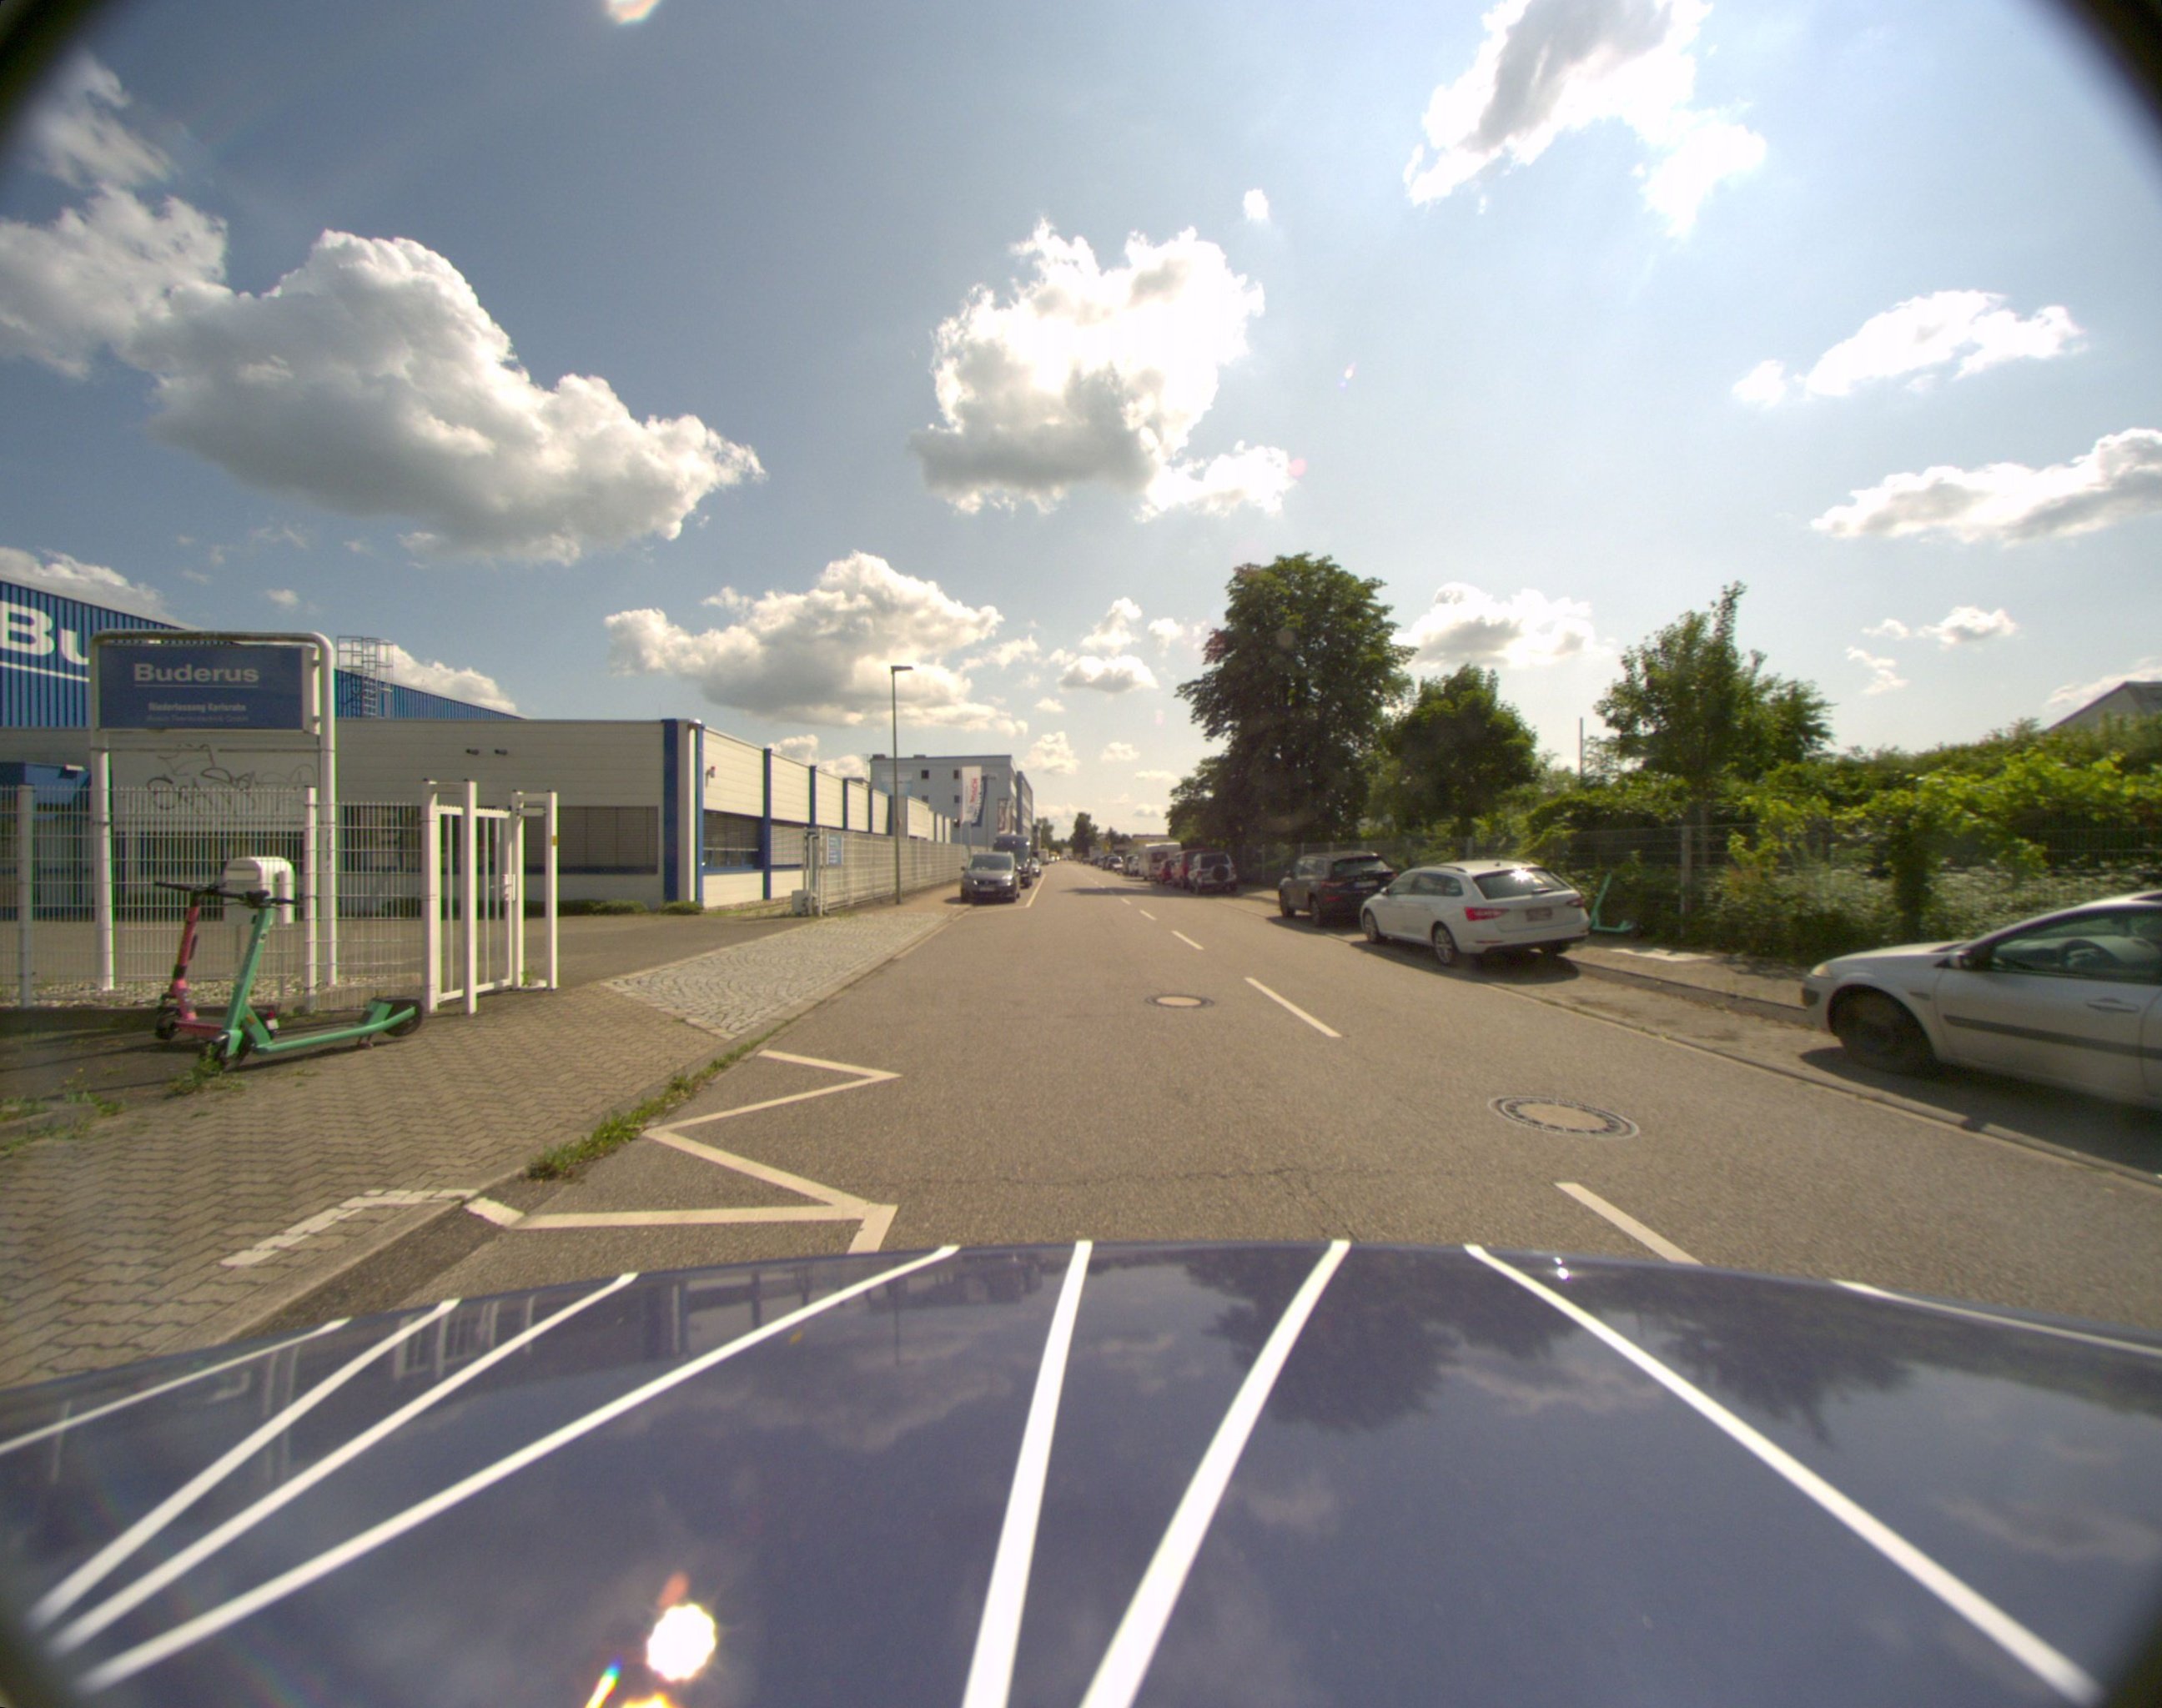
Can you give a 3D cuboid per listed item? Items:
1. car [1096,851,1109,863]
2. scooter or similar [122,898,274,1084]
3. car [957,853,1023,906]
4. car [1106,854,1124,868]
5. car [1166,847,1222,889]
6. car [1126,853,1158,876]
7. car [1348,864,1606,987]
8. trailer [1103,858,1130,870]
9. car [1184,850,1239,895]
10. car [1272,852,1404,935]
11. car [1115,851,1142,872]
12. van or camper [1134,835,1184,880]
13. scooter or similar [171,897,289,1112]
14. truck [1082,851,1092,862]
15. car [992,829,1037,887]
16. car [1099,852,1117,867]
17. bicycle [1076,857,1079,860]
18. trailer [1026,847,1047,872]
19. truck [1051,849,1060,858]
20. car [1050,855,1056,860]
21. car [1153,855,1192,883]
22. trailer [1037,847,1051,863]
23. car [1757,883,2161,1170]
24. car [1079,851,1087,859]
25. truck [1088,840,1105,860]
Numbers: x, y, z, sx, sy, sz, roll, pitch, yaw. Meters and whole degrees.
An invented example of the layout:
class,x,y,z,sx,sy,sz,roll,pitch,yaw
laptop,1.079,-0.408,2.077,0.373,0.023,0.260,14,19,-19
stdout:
class,x,y,z,sx,sy,sz,roll,pitch,yaw
car,2.925,0.403,104.113,1.620,1.475,3.709,-2,0,-2
scooter or similar,-6.403,0.960,5.508,1.147,1.238,0.259,1,1,16
car,-3.037,0.794,26.284,1.830,1.655,4.555,1,0,-1
car,3.795,0.738,85.384,1.581,1.504,4.200,-1,0,-4
car,5.856,0.671,39.961,1.903,1.943,4.956,-5,1,-2
car,4.864,0.804,61.128,1.688,1.682,4.442,-4,1,-5
car,6.168,0.997,12.618,1.704,1.585,4.786,0,0,-1
trailer,3.531,0.985,76.969,2.277,0.878,7.130,-4,0,-1
car,5.699,0.759,33.572,1.704,1.791,3.826,-4,0,0
car,6.113,0.858,18.664,1.615,1.735,4.636,-2,0,0
car,4.183,0.645,67.587,1.832,1.783,4.734,0,0,-2
van or camper,5.320,0.207,53.088,2.269,2.787,6.831,-4,1,-3
scooter or similar,-5.416,0.934,4.850,0.334,1.304,0.366,0,1,-2
truck,1.417,0.553,174.746,2.133,2.225,7.349,-2,0,1
car,-3.332,0.181,39.016,1.943,2.732,6.153,1,0,-2
car,3.204,0.600,90.424,1.806,1.739,4.711,1,0,-2
bicycle,-0.701,0.905,160.038,0.589,0.737,2.125,0,0,1
trailer,-3.652,0.452,62.823,1.606,2.025,2.740,-1,1,-2
truck,-7.944,-0.242,236.133,2.403,2.787,6.374,1,0,0
car,-7.482,0.904,201.777,1.657,1.324,3.999,0,0,-2
car,5.459,0.876,45.848,1.629,1.523,4.267,-3,0,-2
trailer,-5.748,0.137,118.330,1.873,2.538,5.072,0,0,1
car,6.965,1.020,4.424,1.799,1.518,4.658,0,0,-2
car,0.706,0.313,240.211,1.997,2.289,4.003,-2,0,8
truck,2.654,-0.651,130.794,2.256,3.342,6.905,-4,0,-2
